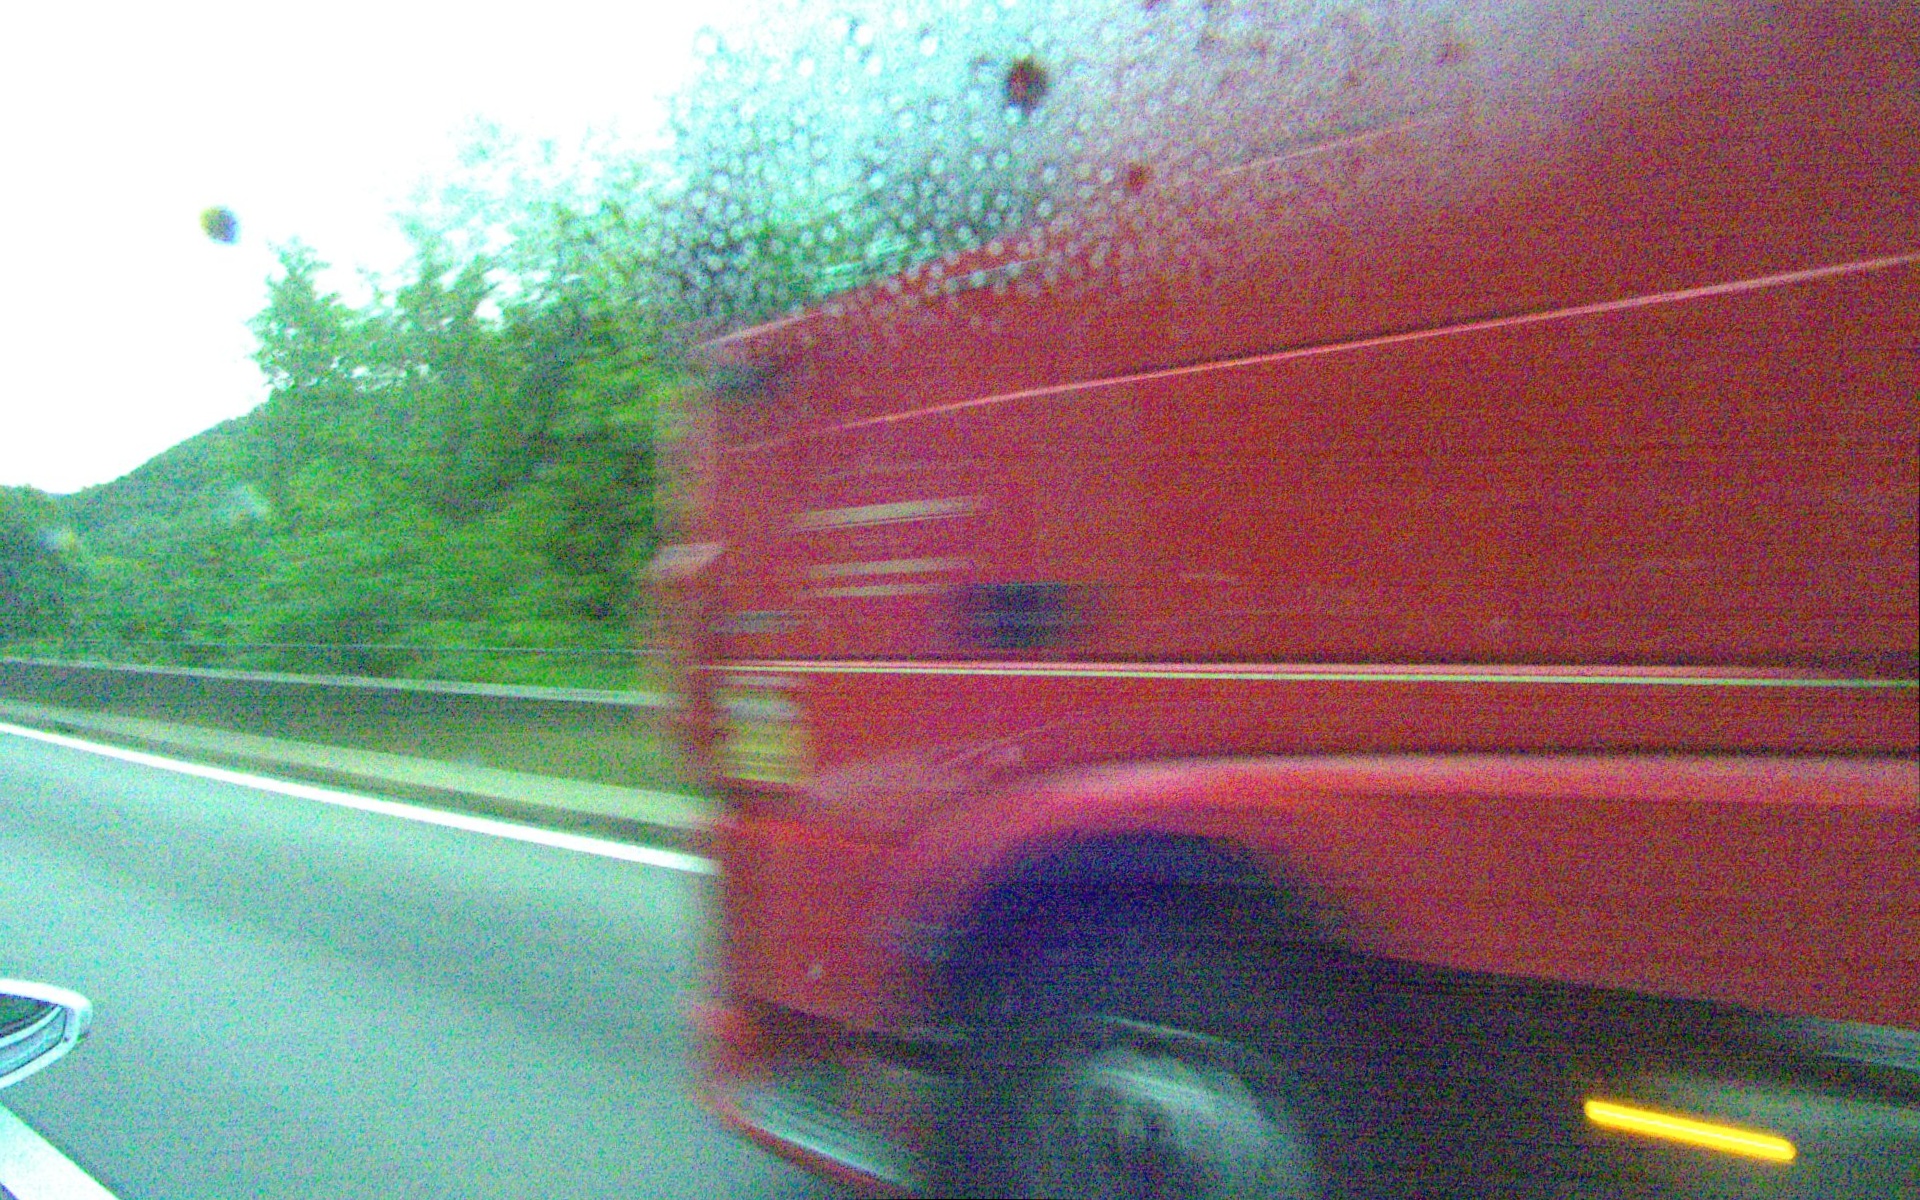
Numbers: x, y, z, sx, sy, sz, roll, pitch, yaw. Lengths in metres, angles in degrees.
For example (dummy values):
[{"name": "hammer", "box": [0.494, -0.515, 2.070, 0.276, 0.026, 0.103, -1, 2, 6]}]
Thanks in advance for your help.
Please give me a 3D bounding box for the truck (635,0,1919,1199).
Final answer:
[{"name": "truck", "box": [2.851, -0.622, 1.751, 6.351, 4.200, 3.064, -1, 1, 30]}]
